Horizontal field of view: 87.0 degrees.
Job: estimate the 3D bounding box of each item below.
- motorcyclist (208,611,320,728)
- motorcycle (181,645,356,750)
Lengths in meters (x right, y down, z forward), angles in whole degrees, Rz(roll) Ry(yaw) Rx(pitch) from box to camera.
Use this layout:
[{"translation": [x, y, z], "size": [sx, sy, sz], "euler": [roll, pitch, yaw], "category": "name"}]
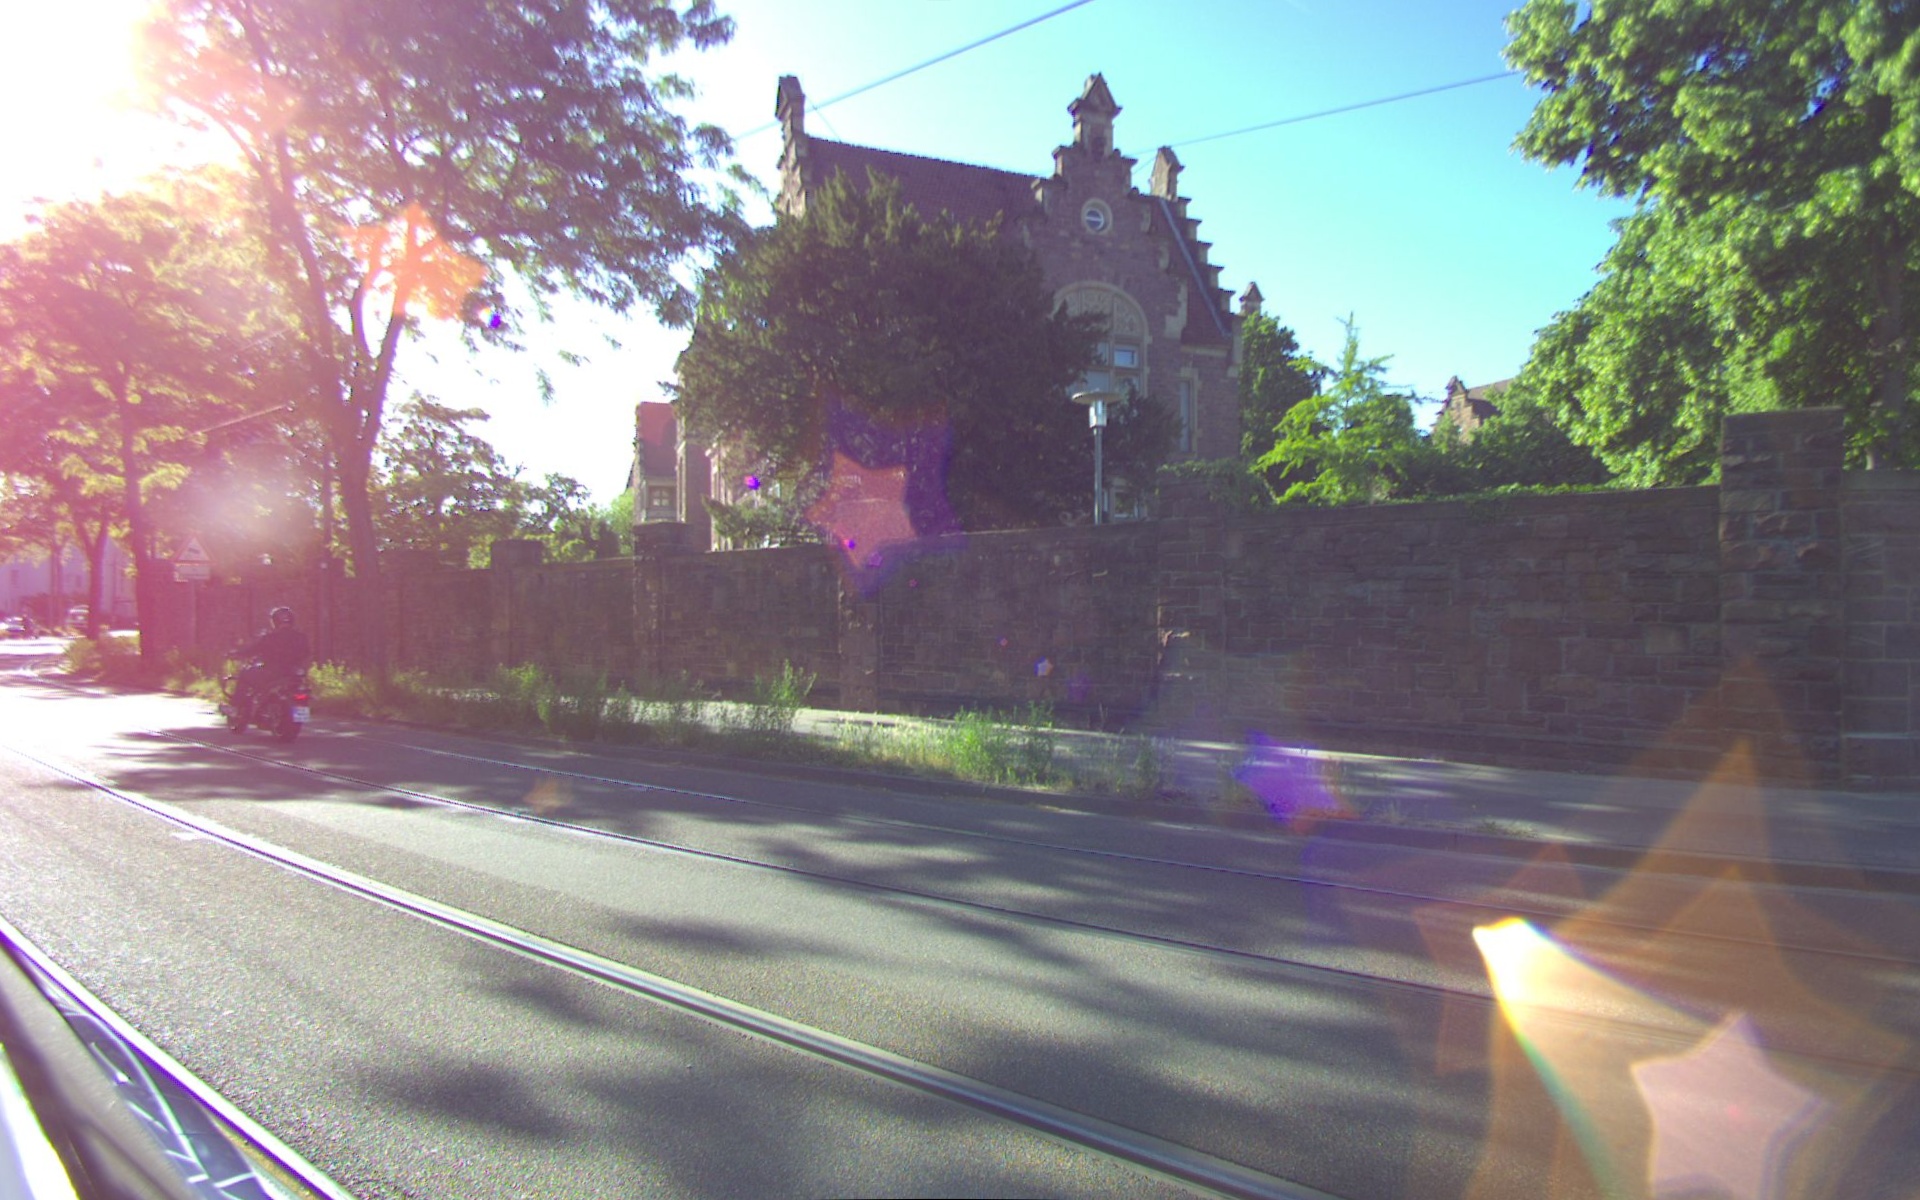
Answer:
[{"translation": [-8.712, 0.843, 12.682], "size": [0.905, 1.393, 0.882], "euler": [-1, -1, 32], "category": "motorcyclist"}, {"translation": [-8.668, 1.167, 12.654], "size": [2.420, 1.162, 0.904], "euler": [-1, -1, 31], "category": "motorcycle"}]
